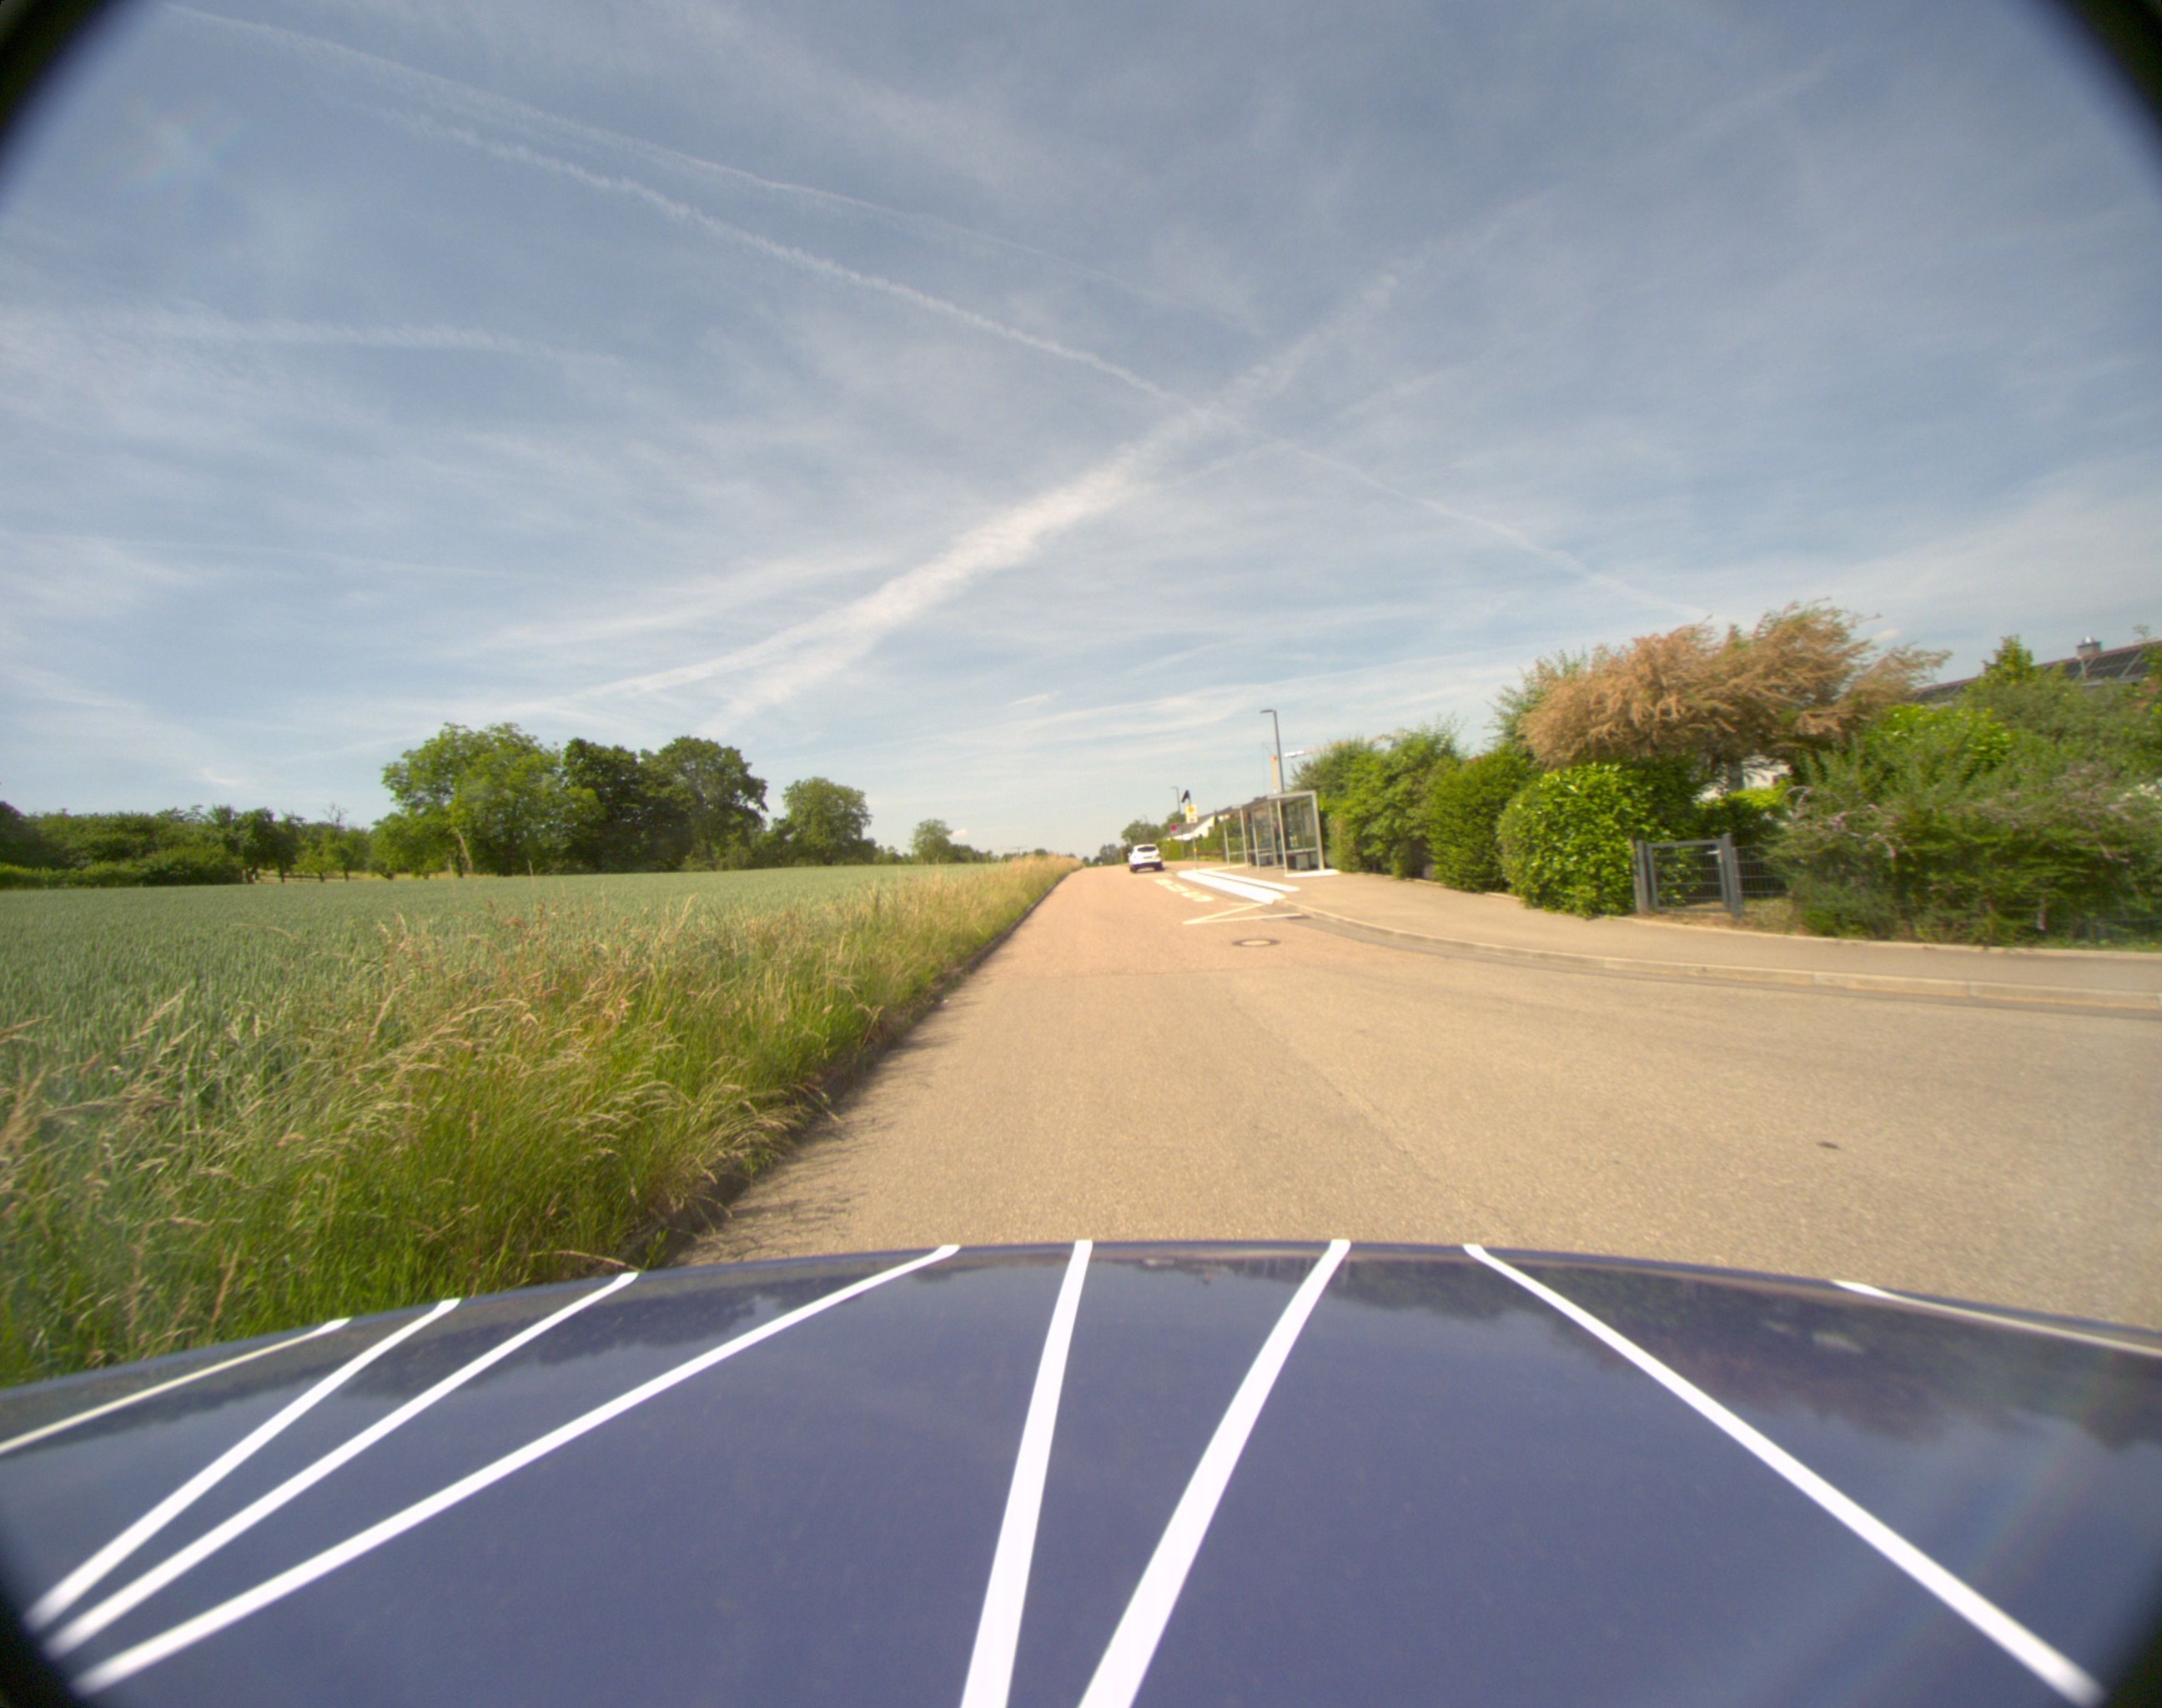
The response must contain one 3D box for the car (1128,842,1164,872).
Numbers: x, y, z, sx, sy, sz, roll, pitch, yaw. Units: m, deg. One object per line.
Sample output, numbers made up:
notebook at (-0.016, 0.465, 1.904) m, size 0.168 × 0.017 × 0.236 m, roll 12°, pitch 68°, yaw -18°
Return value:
car at (3.964, 0.140, 46.680) m, size 1.738 × 1.624 × 4.352 m, roll -5°, pitch 0°, yaw 0°
